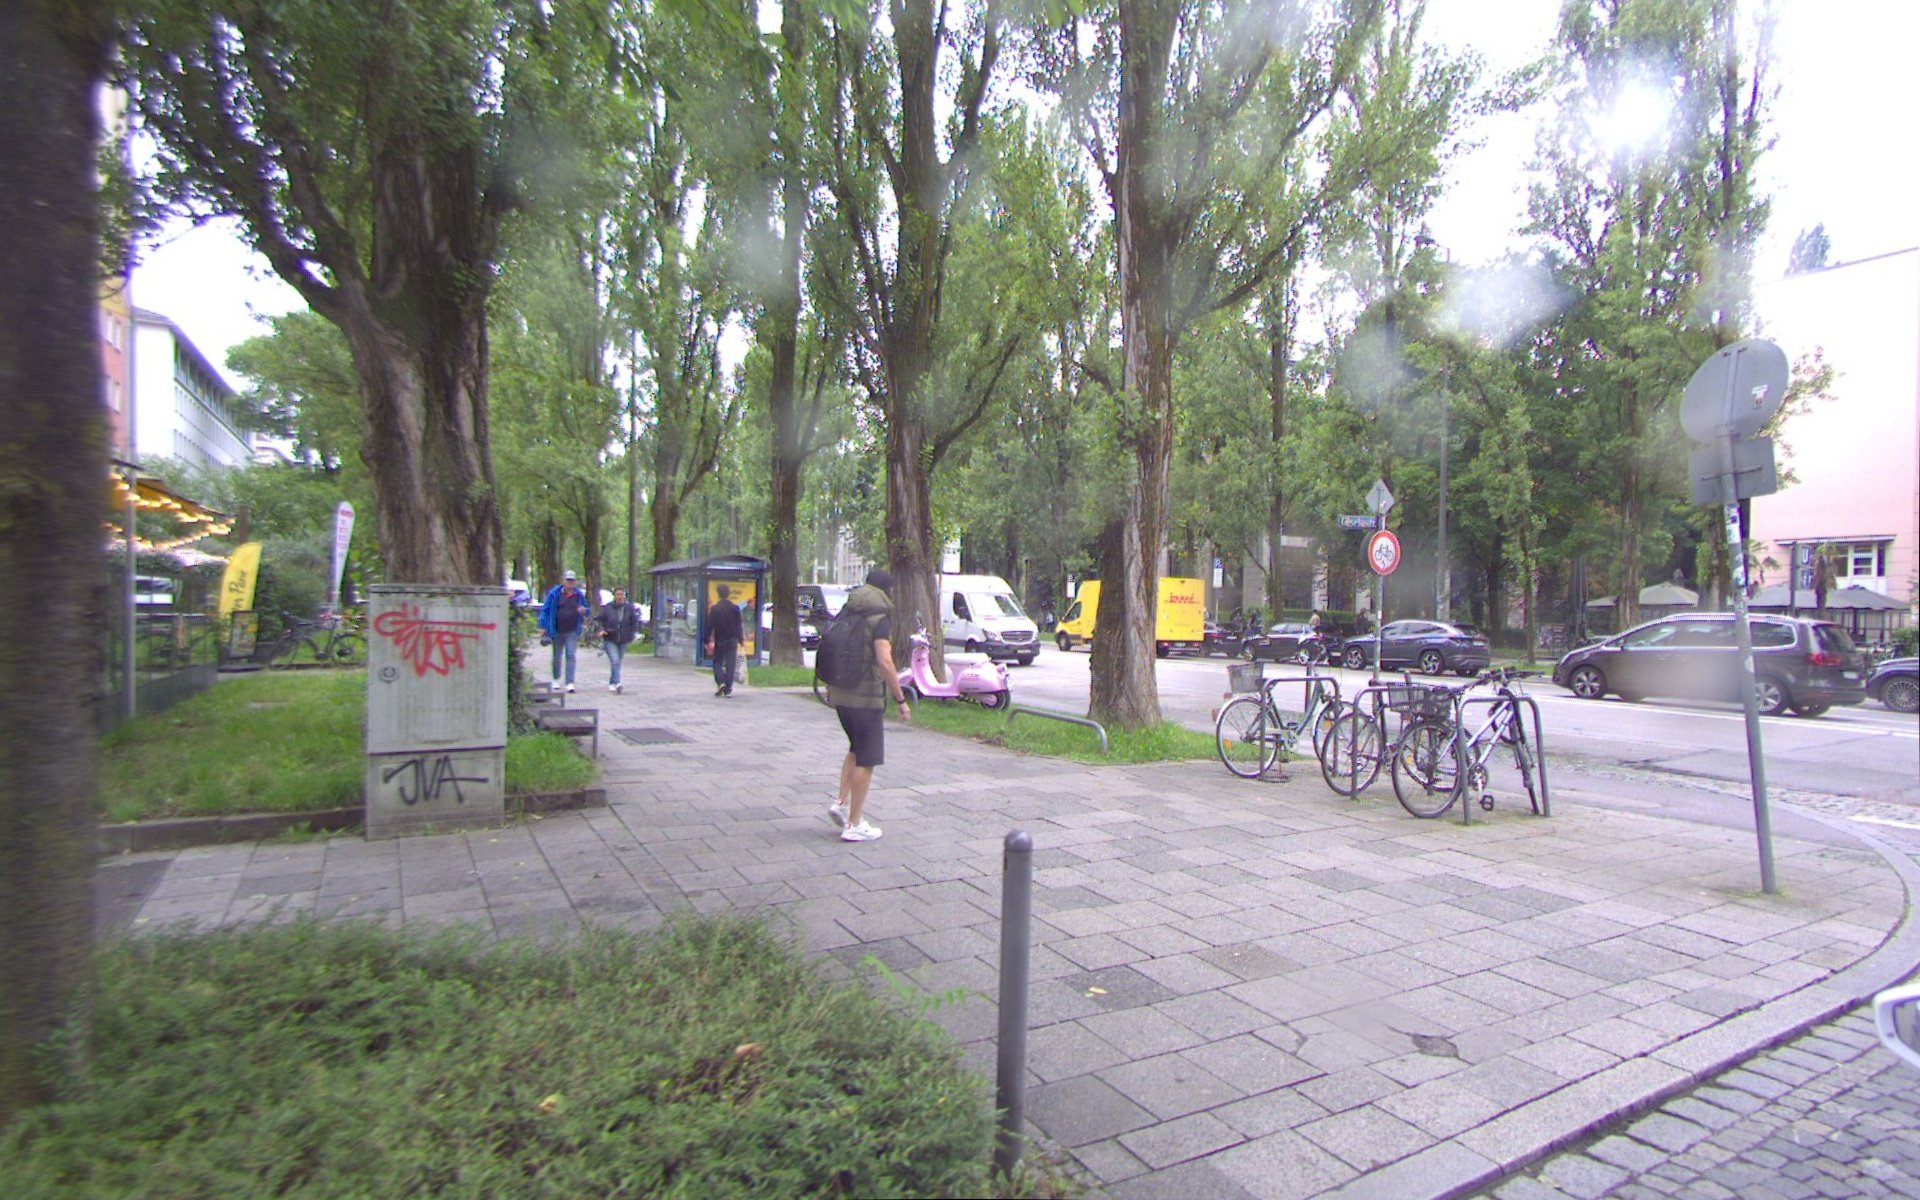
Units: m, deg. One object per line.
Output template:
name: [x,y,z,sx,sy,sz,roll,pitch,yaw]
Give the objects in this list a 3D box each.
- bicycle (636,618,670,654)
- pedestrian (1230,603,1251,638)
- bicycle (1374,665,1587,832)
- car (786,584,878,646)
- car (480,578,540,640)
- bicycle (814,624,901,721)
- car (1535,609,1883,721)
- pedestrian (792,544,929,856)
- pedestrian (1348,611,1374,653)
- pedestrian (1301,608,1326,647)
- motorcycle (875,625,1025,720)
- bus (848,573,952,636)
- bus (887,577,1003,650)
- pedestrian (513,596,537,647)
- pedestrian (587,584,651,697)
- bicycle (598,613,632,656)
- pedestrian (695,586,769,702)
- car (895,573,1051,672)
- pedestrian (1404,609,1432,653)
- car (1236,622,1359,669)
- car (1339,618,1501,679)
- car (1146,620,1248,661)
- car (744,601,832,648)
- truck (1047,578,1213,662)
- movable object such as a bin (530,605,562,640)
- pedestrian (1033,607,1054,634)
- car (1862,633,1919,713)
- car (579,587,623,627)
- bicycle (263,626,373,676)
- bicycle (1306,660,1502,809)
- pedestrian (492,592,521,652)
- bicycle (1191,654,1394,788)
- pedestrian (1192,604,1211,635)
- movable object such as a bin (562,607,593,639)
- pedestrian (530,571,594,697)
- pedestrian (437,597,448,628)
bicycle: [-9.260,1.076,30.266,0.548,1.036,1.747,1,0,-32]
pedestrian: [13.974,1.011,50.076,0.700,1.736,0.726,1,-1,-28]
bicycle: [3.918,1.065,7.534,1.680,1.108,0.488,1,0,-25]
car: [-5.893,0.628,45.475,2.057,2.590,5.885,0,0,-29]
car: [-23.747,0.455,52.924,2.175,3.057,5.950,1,0,-31]
bicycle: [-1.418,0.940,13.608,0.576,1.204,1.603,1,0,-29]
car: [13.615,1.101,18.635,1.976,1.745,4.779,2,-1,-28]
pedestrian: [-0.589,0.583,6.191,0.737,1.796,0.706,1,0,1]
pedestrian: [16.600,1.319,41.573,0.700,1.736,0.726,1,0,-28]
pedestrian: [15.774,1.229,44.806,0.700,1.736,0.726,1,0,-28]
motorcycle: [-0.134,0.968,13.776,1.951,1.212,0.630,0,0,17]
bus: [-3.446,0.287,54.395,2.883,3.092,9.749,1,-1,-21]
bus: [-0.907,0.631,47.466,2.882,3.092,8.479,1,-1,-20]
pedestrian: [-14.782,0.718,34.138,0.726,1.715,0.643,1,0,-26]
pedestrian: [-5.418,0.632,15.975,0.635,1.750,0.701,1,0,37]
bicycle: [-10.139,0.995,29.478,0.576,1.204,2.125,1,0,-29]
pedestrian: [-3.559,0.667,15.623,0.848,1.734,0.951,1,0,-31]
car: [0.240,0.622,30.362,2.021,2.687,5.995,-1,0,-29]
pedestrian: [18.216,1.235,39.985,0.700,1.736,0.726,1,0,-28]
car: [11.497,1.505,34.454,1.772,1.431,3.852,1,0,-29]
car: [13.729,1.407,30.210,1.772,1.622,4.205,1,0,-29]
car: [9.154,1.527,39.074,1.772,1.431,3.852,1,0,-29]
car: [-6.297,0.857,36.347,1.987,1.602,3.970,1,0,-28]
truck: [6.367,0.723,38.861,2.569,2.946,7.028,1,0,-28]
movable object such as a bin: [-17.084,0.931,41.409,1.052,1.423,0.975,1,0,-32]
pedestrian: [5.311,1.303,63.918,1.018,1.736,0.937,1,-1,-28]
car: [20.284,1.466,18.992,1.772,1.549,4.480,1,0,-29]
car: [-25.239,0.488,70.509,1.988,2.667,5.954,1,0,-29]
bicycle: [-12.583,0.985,19.748,1.782,0.925,0.615,1,0,-32]
bicycle: [3.683,1.069,8.297,1.680,1.108,0.488,1,0,-25]
pedestrian: [-13.256,0.645,29.346,0.726,1.715,0.643,1,0,-26]
bicycle: [3.061,1.068,9.192,1.957,1.108,0.488,1,0,-25]
pedestrian: [13.686,1.127,56.975,0.700,1.736,0.726,1,0,-28]
movable object such as a bin: [-16.113,0.959,42.298,1.052,1.329,0.975,1,0,-32]
pedestrian: [-6.307,0.522,15.919,0.635,1.933,0.701,1,0,37]
pedestrian: [-29.441,0.707,57.147,0.498,1.715,0.518,1,0,-25]
